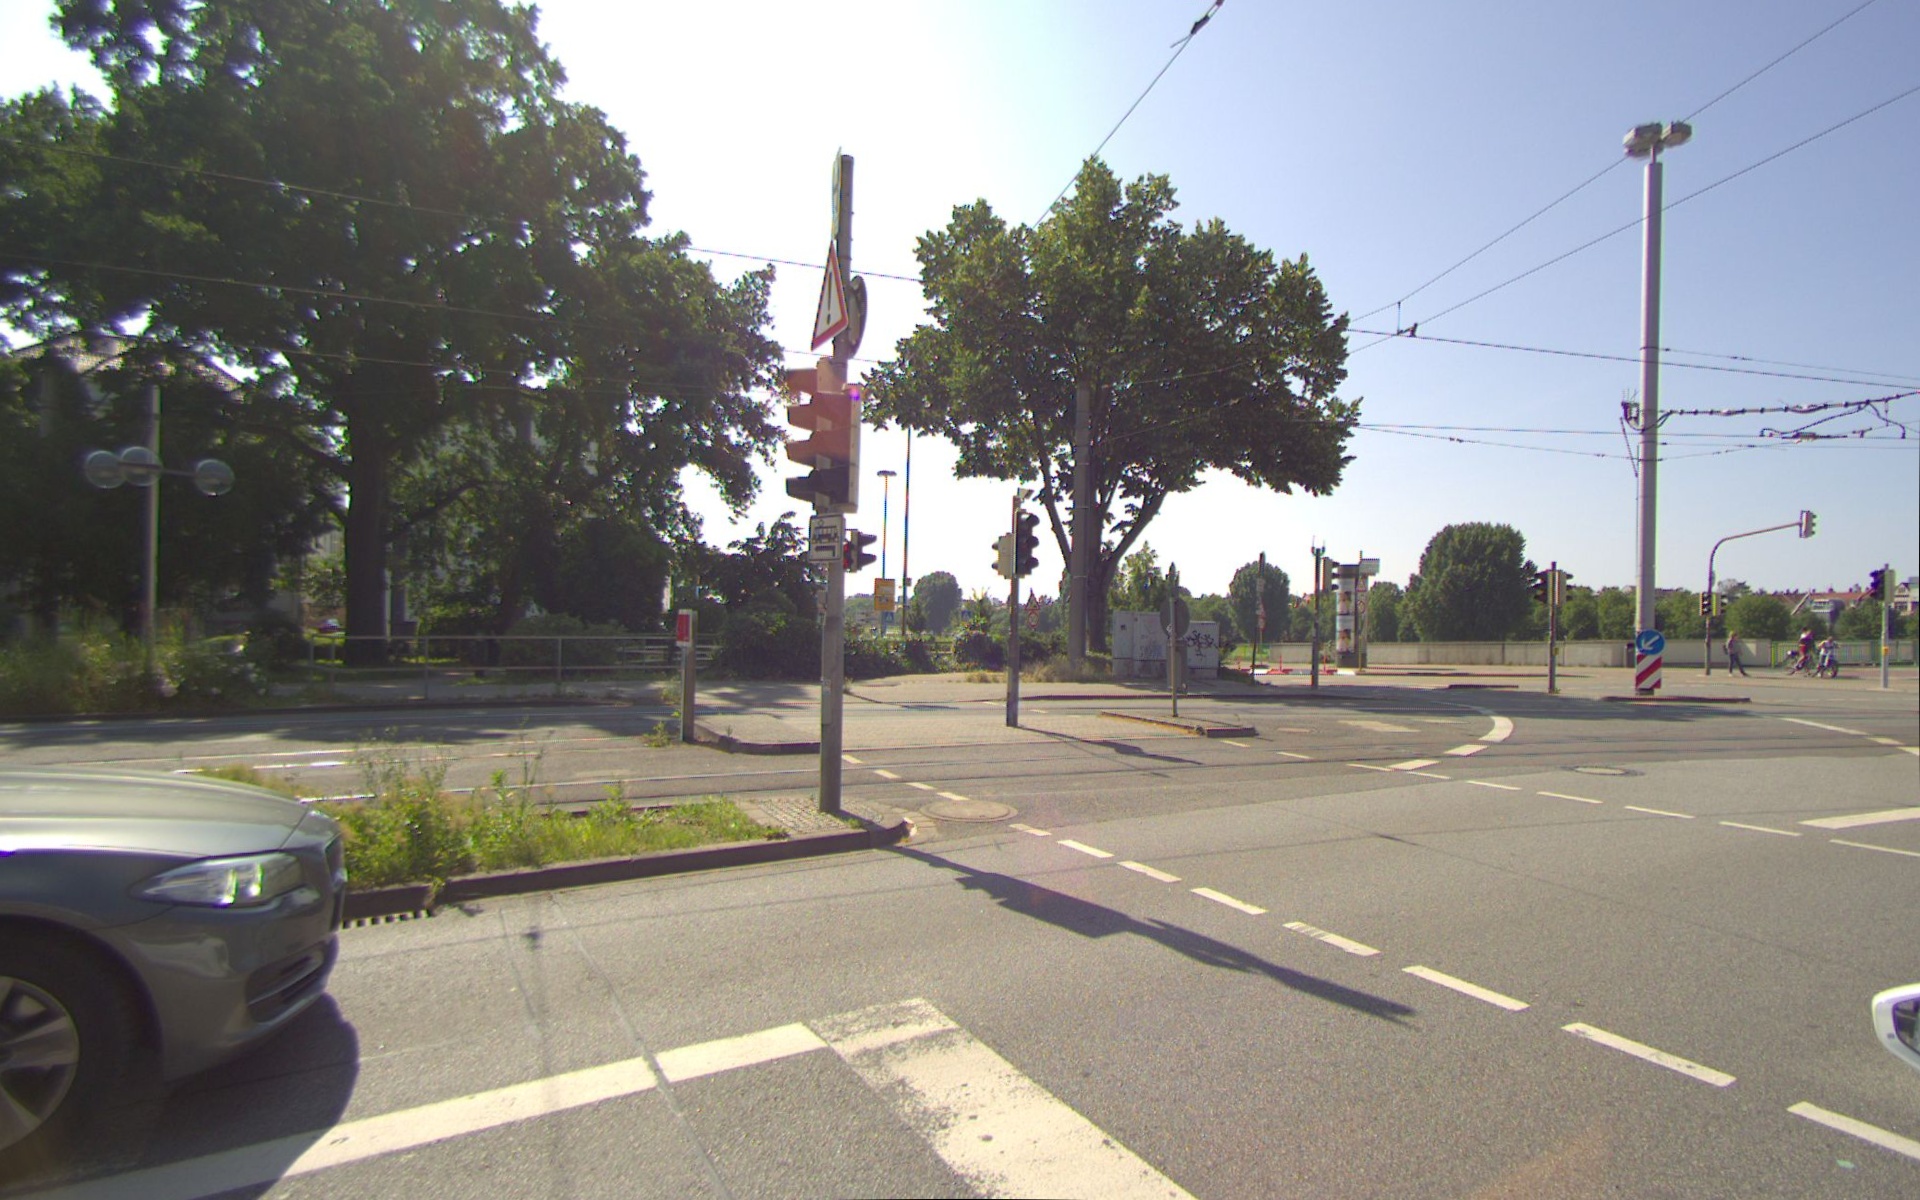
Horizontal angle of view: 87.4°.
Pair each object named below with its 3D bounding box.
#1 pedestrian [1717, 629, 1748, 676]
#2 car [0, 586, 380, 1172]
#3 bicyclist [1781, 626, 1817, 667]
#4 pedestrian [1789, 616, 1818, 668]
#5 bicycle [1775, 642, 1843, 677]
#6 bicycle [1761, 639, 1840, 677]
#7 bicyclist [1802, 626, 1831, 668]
[{"bbox_3d":[28.861,1.941,37.534,0.823,1.719,1.095,0,-1,34],"label":"pedestrian"},{"bbox_3d":[-4.204,0.701,2.555,4.693,1.505,1.739,2,-2,-31],"label":"car"},{"bbox_3d":[30.959,1.715,37.071,0.992,1.468,0.811,0,-1,42],"label":"bicyclist"},{"bbox_3d":[33.853,1.679,40.309,0.888,2.040,0.830,0,-1,42],"label":"pedestrian"},{"bbox_3d":[31.721,2.197,37.540,1.947,1.225,0.636,0,-2,42],"label":"bicycle"},{"bbox_3d":[30.971,2.121,37.020,2.212,1.296,0.736,0,-2,42],"label":"bicycle"},{"bbox_3d":[31.878,1.731,37.399,0.815,1.513,0.872,0,-1,42],"label":"bicyclist"}]
